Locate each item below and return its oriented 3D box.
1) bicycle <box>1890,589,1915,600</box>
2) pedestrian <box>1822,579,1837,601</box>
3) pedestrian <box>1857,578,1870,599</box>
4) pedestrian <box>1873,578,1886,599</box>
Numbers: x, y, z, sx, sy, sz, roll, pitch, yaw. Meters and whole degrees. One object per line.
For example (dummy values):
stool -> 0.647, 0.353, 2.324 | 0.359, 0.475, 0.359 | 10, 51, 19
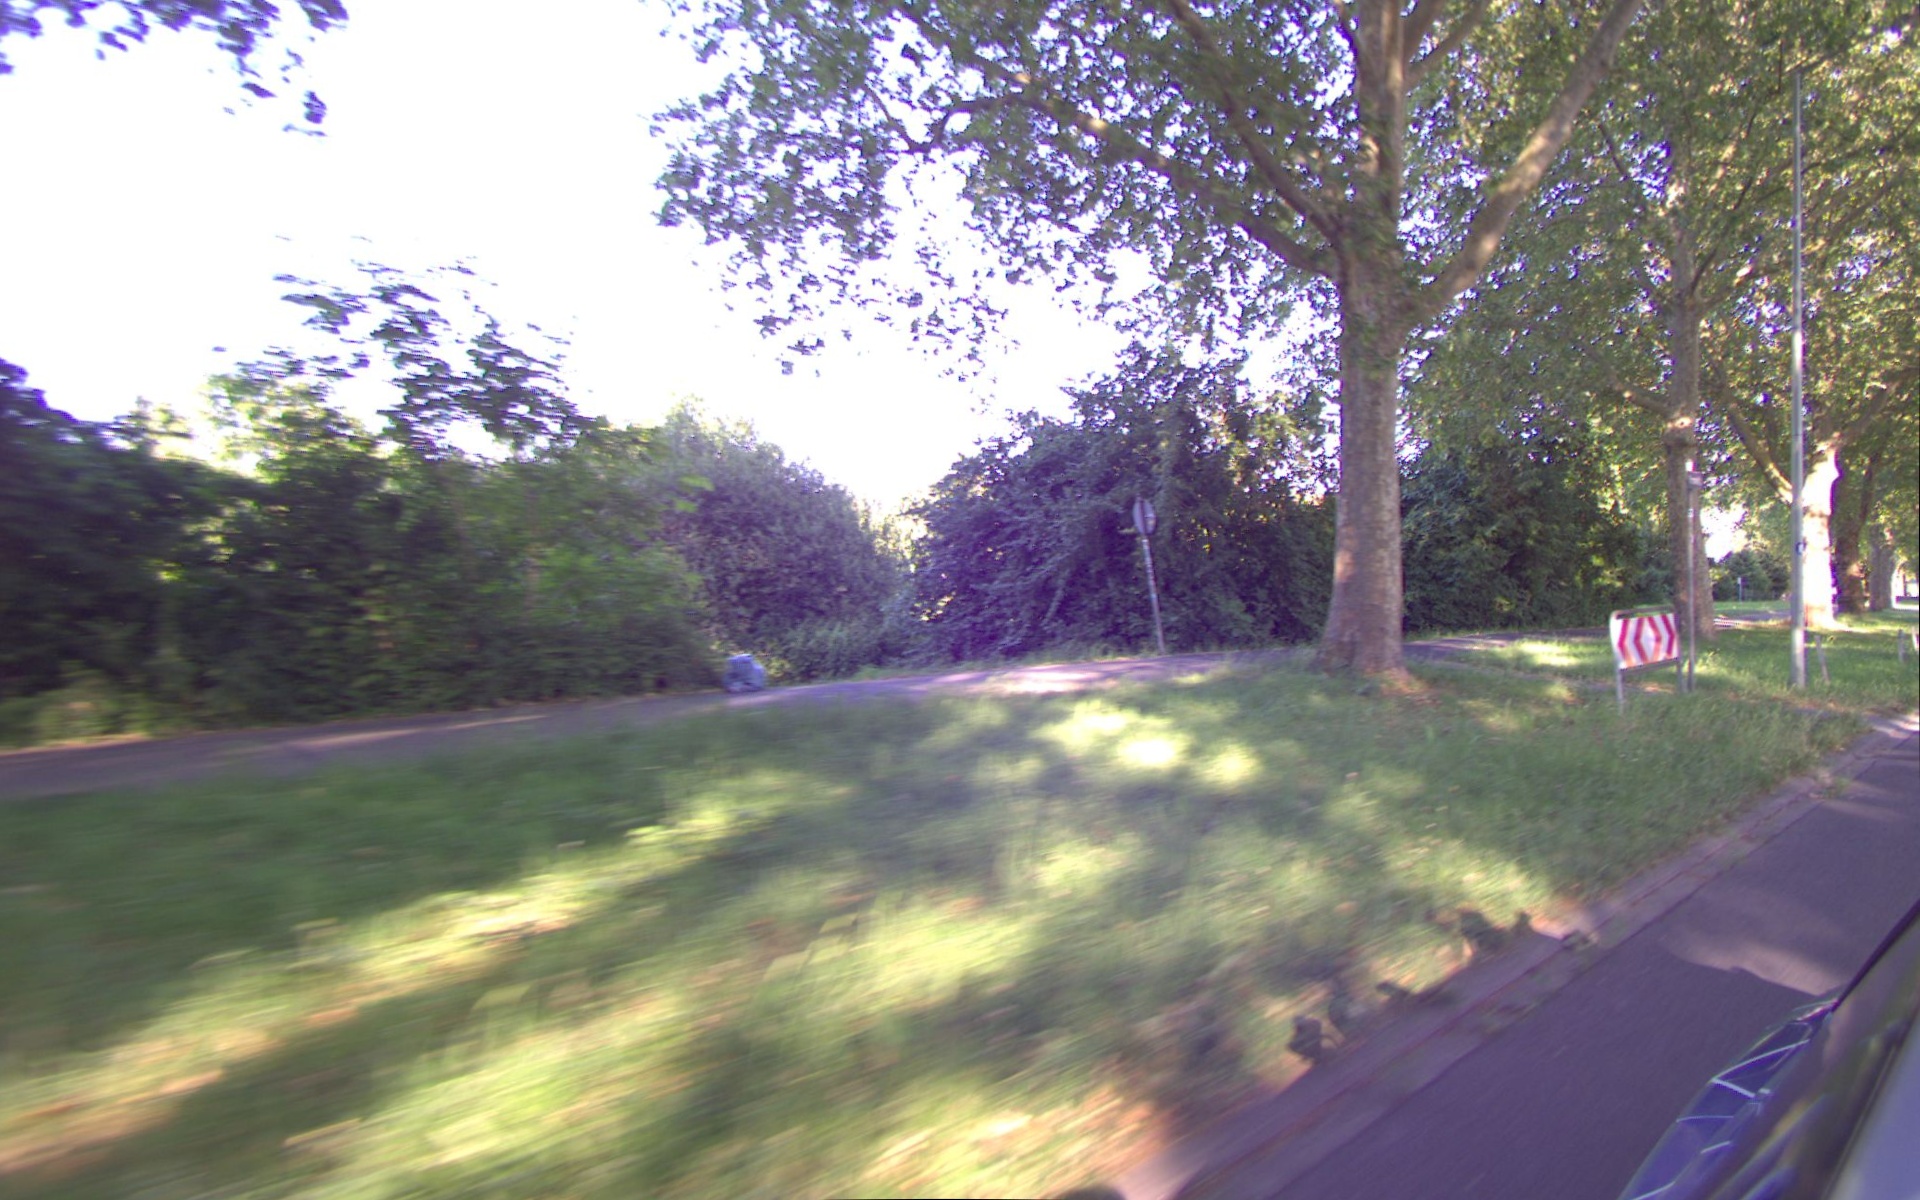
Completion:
bicycle -> 89.148, -0.523, 95.729 | 0.437, 1.048, 1.724 | 3, 1, -12
pedestrian -> 66.033, -0.768, 76.867 | 0.779, 1.670, 0.924 | 2, 2, 43
pedestrian -> 80.246, -0.998, 89.874 | 0.789, 1.870, 0.755 | 0, 1, -44
pedestrian -> 80.911, -1.033, 89.078 | 0.774, 1.869, 0.762 | 0, 1, -44
